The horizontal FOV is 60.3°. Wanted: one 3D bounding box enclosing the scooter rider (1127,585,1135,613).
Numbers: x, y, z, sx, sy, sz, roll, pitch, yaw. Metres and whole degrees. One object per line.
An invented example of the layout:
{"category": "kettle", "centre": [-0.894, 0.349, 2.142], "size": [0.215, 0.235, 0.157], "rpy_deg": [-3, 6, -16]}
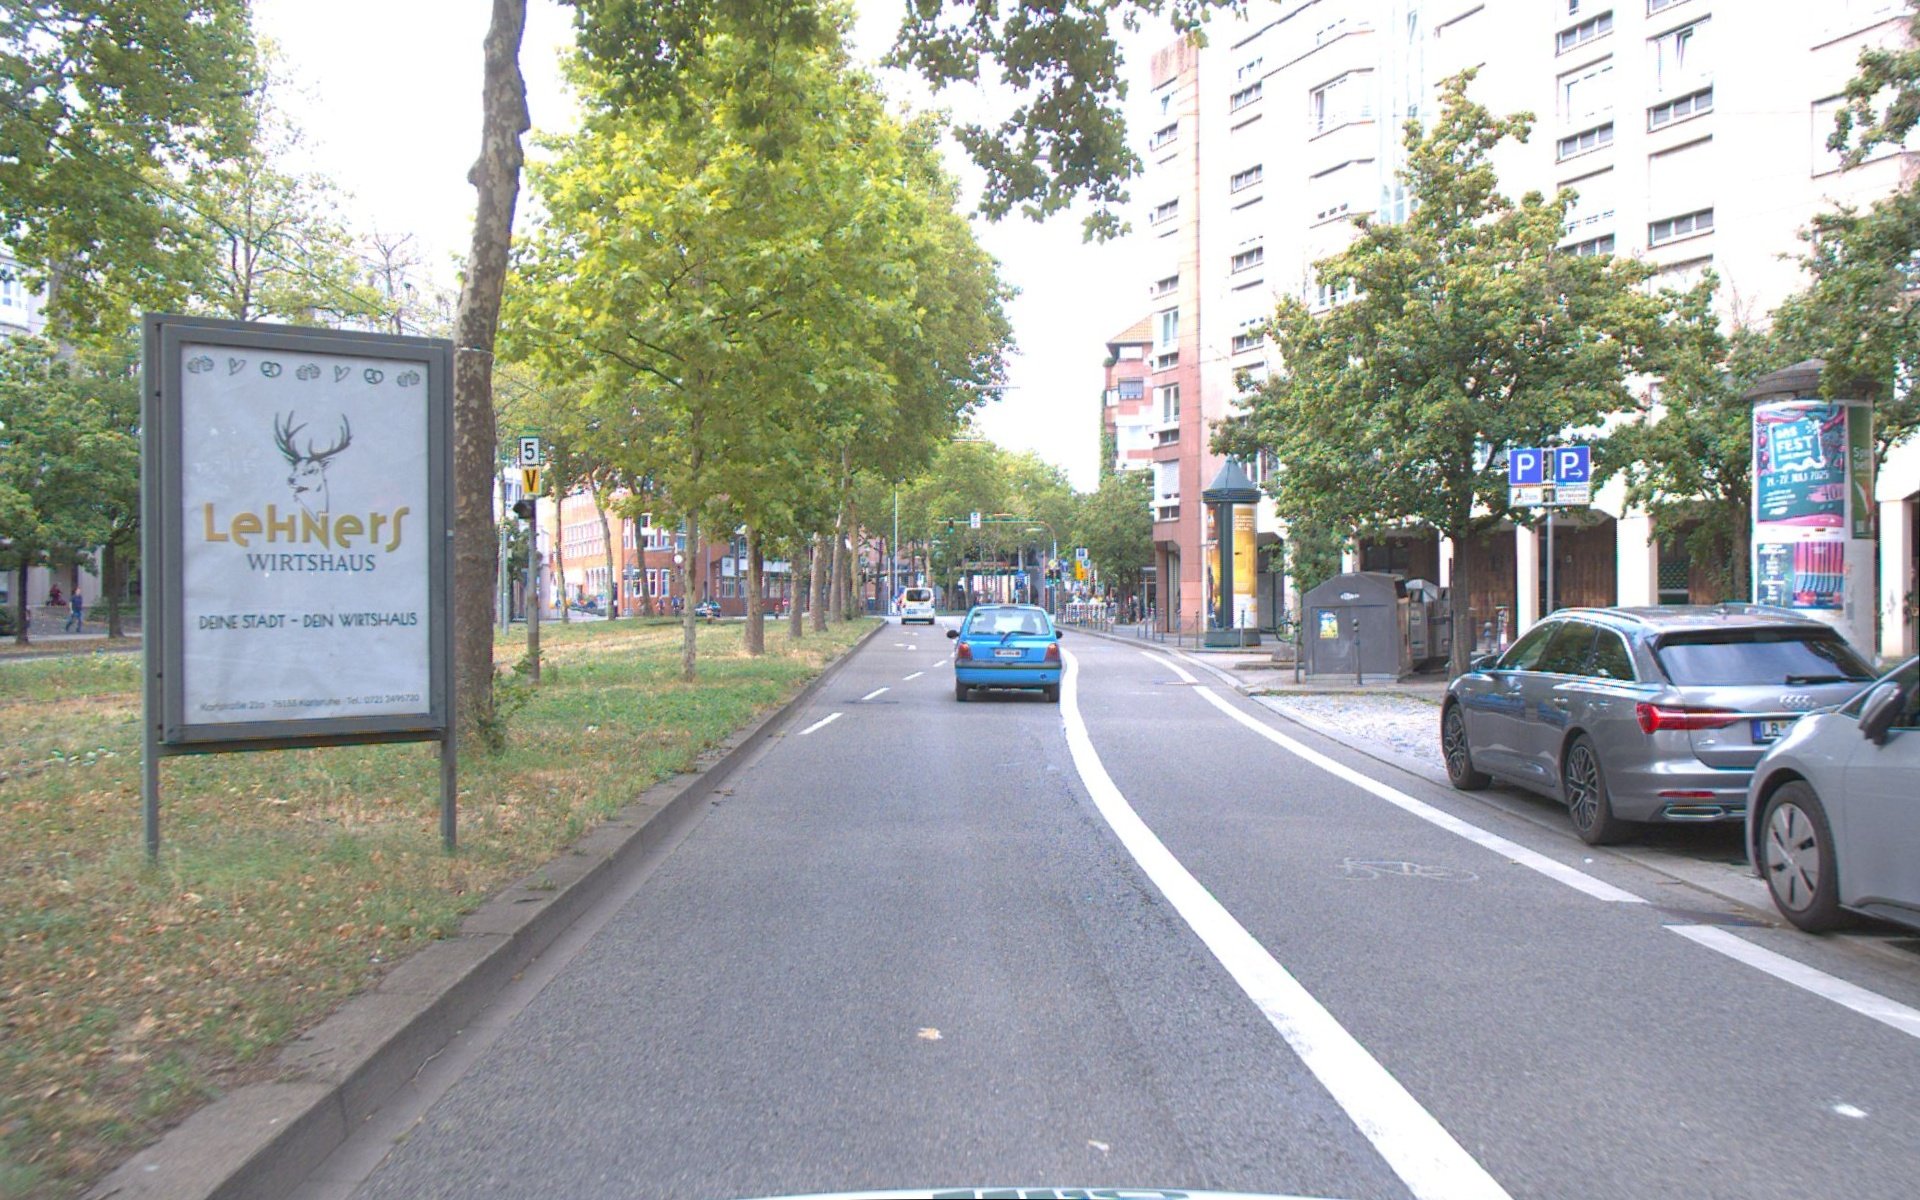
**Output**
{"category": "scooter rider", "centre": [9.658, -0.052, 93.583], "size": [0.451, 1.584, 0.565], "rpy_deg": [0, 0, 4]}

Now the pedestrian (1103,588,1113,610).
{"category": "pedestrian", "centre": [10.650, -0.096, 119.137], "size": [0.661, 1.565, 0.948], "rpy_deg": [0, 0, 6]}

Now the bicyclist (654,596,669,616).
{"category": "bicyclist", "centre": [-24.809, 0.489, 137.407], "size": [1.023, 1.590, 0.574], "rpy_deg": [0, -1, -38]}

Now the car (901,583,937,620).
{"category": "car", "centre": [-2.232, 0.075, 90.720], "size": [1.892, 1.959, 4.954], "rpy_deg": [0, 0, -1]}

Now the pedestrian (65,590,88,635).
{"category": "pedestrian", "centre": [-34.115, 0.485, 63.857], "size": [0.541, 1.735, 0.626], "rpy_deg": [0, 0, 3]}

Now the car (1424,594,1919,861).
{"category": "car", "centre": [4.807, 0.714, 11.732], "size": [1.779, 1.468, 4.666], "rpy_deg": [-1, 0, 1]}

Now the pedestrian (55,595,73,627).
{"category": "pedestrian", "centre": [-37.975, 0.471, 70.109], "size": [0.447, 1.346, 0.555], "rpy_deg": [0, 0, 10]}

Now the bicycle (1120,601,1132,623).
{"category": "bicycle", "centre": [8.574, 0.623, 85.544], "size": [0.599, 1.137, 1.806], "rpy_deg": [0, 0, 6]}

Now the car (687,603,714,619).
{"category": "car", "centre": [-21.769, 0.918, 138.753], "size": [1.694, 1.267, 4.533], "rpy_deg": [0, 0, -2]}

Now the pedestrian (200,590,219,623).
{"category": "pedestrian", "centre": [-38.347, 0.328, 84.517], "size": [0.623, 1.701, 0.660], "rpy_deg": [0, 0, 8]}

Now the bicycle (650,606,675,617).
{"category": "bicycle", "centre": [-24.731, 0.939, 137.437], "size": [1.967, 0.850, 0.571], "rpy_deg": [0, 0, -38]}

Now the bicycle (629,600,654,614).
{"category": "bicycle", "centre": [-25.344, 0.570, 131.588], "size": [1.858, 1.111, 0.570], "rpy_deg": [0, 0, -38]}

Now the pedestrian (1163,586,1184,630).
{"category": "pedestrian", "centre": [8.273, 0.316, 64.070], "size": [0.533, 1.679, 0.824], "rpy_deg": [0, 0, 28]}

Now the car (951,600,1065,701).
{"category": "car", "centre": [0.675, 0.716, 25.442], "size": [1.607, 1.410, 3.842], "rpy_deg": [0, 0, -1]}

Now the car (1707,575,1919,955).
{"category": "car", "centre": [4.775, 0.666, 6.447], "size": [1.704, 1.545, 4.401], "rpy_deg": [-2, 0, 0]}

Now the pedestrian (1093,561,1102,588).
{"category": "pedestrian", "centre": [8.489, -1.594, 102.165], "size": [0.506, 1.644, 0.851], "rpy_deg": [0, 0, 4]}

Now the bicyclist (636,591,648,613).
{"category": "bicyclist", "centre": [-25.338, 0.165, 131.598], "size": [0.776, 1.702, 0.566], "rpy_deg": [0, 0, -38]}

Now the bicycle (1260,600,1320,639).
{"category": "bicycle", "centre": [9.941, 0.597, 49.844], "size": [1.634, 1.148, 0.667], "rpy_deg": [-2, -1, 41]}

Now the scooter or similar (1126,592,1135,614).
{"category": "scooter or similar", "centre": [9.680, 0.170, 93.871], "size": [0.463, 1.227, 1.331], "rpy_deg": [0, 0, 5]}

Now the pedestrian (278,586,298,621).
{"category": "pedestrian", "centre": [-35.325, 0.182, 86.940], "size": [0.753, 1.841, 0.693], "rpy_deg": [0, 0, 8]}
